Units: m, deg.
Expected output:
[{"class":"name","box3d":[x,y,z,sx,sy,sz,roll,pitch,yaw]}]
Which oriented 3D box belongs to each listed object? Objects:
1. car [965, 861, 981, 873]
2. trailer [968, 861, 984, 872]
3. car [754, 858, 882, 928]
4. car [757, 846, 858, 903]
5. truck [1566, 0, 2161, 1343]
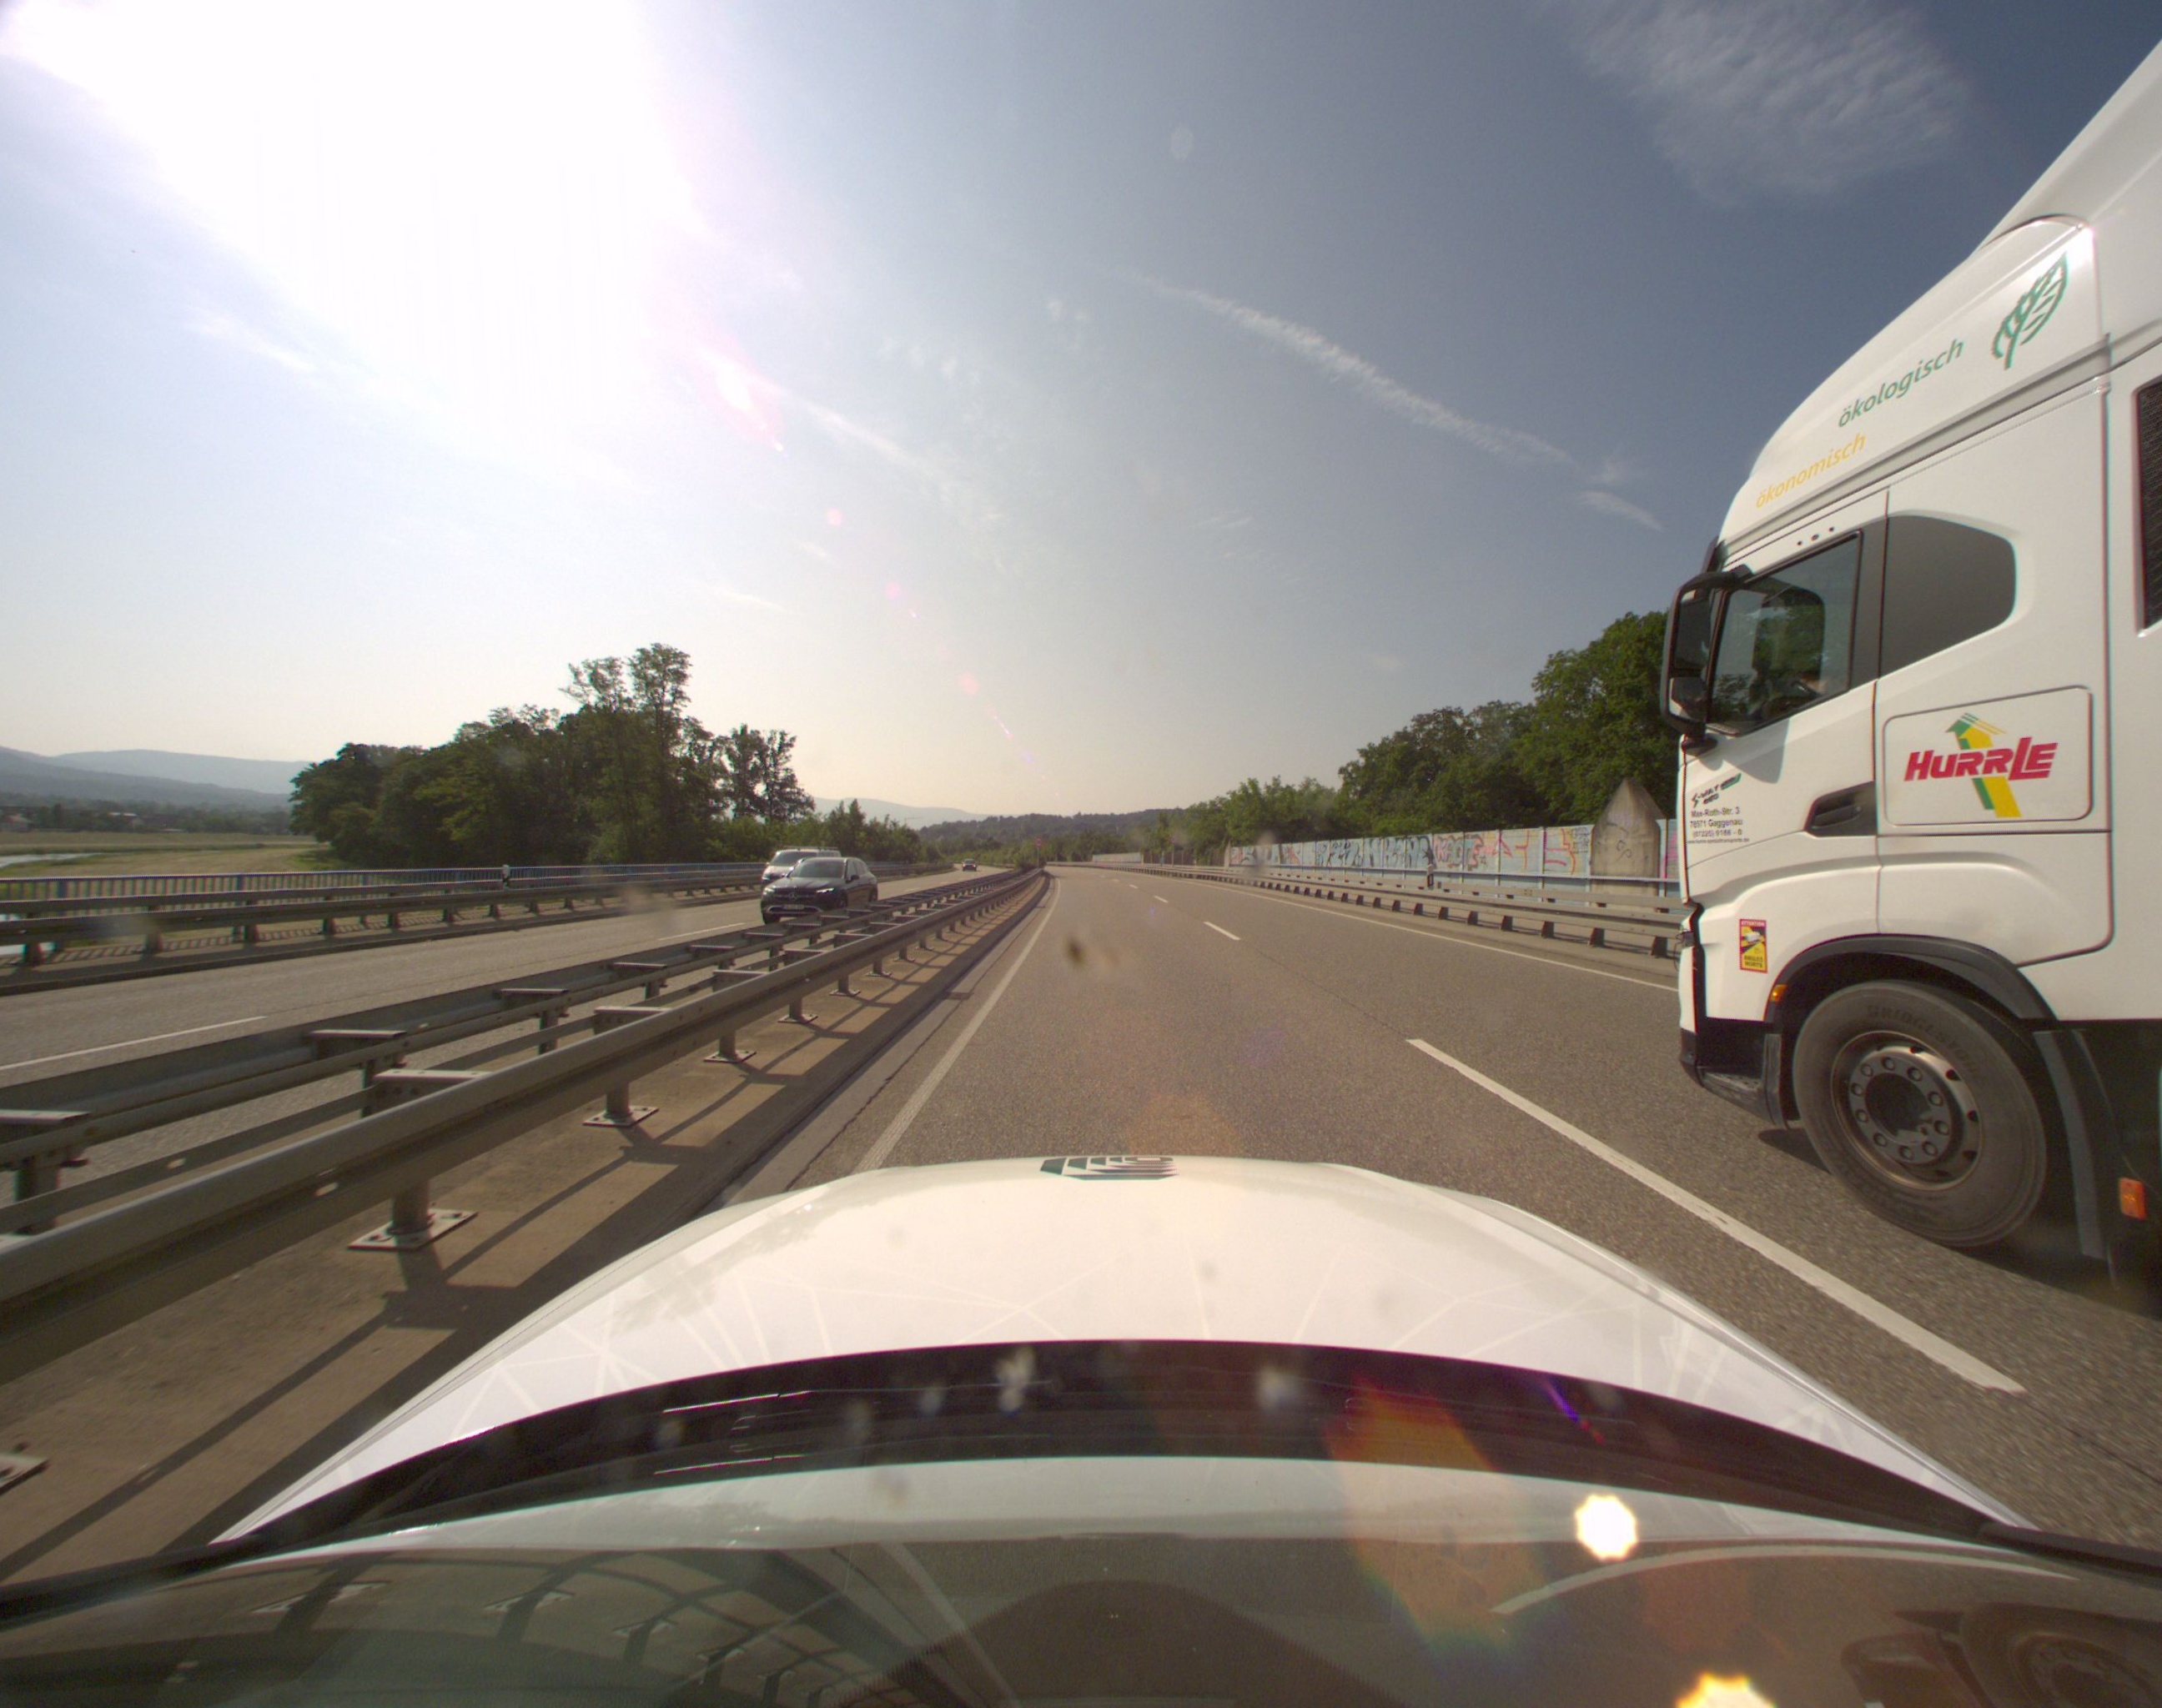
[{"class":"car","box3d":[-14.639,1.738,110.390,1.719,1.596,3.996,1,-1,-2]},{"class":"trailer","box3d":[-14.802,1.770,114.812,1.714,1.578,4.808,1,-1,-2]},{"class":"car","box3d":[-6.675,0.918,21.213,1.859,1.607,4.417,0,0,0]},{"class":"car","box3d":[-10.334,0.715,31.252,2.032,2.006,5.307,0,0,0]},{"class":"truck","box3d":[4.402,-0.561,2.418,2.649,3.896,5.650,-1,0,2]}]
